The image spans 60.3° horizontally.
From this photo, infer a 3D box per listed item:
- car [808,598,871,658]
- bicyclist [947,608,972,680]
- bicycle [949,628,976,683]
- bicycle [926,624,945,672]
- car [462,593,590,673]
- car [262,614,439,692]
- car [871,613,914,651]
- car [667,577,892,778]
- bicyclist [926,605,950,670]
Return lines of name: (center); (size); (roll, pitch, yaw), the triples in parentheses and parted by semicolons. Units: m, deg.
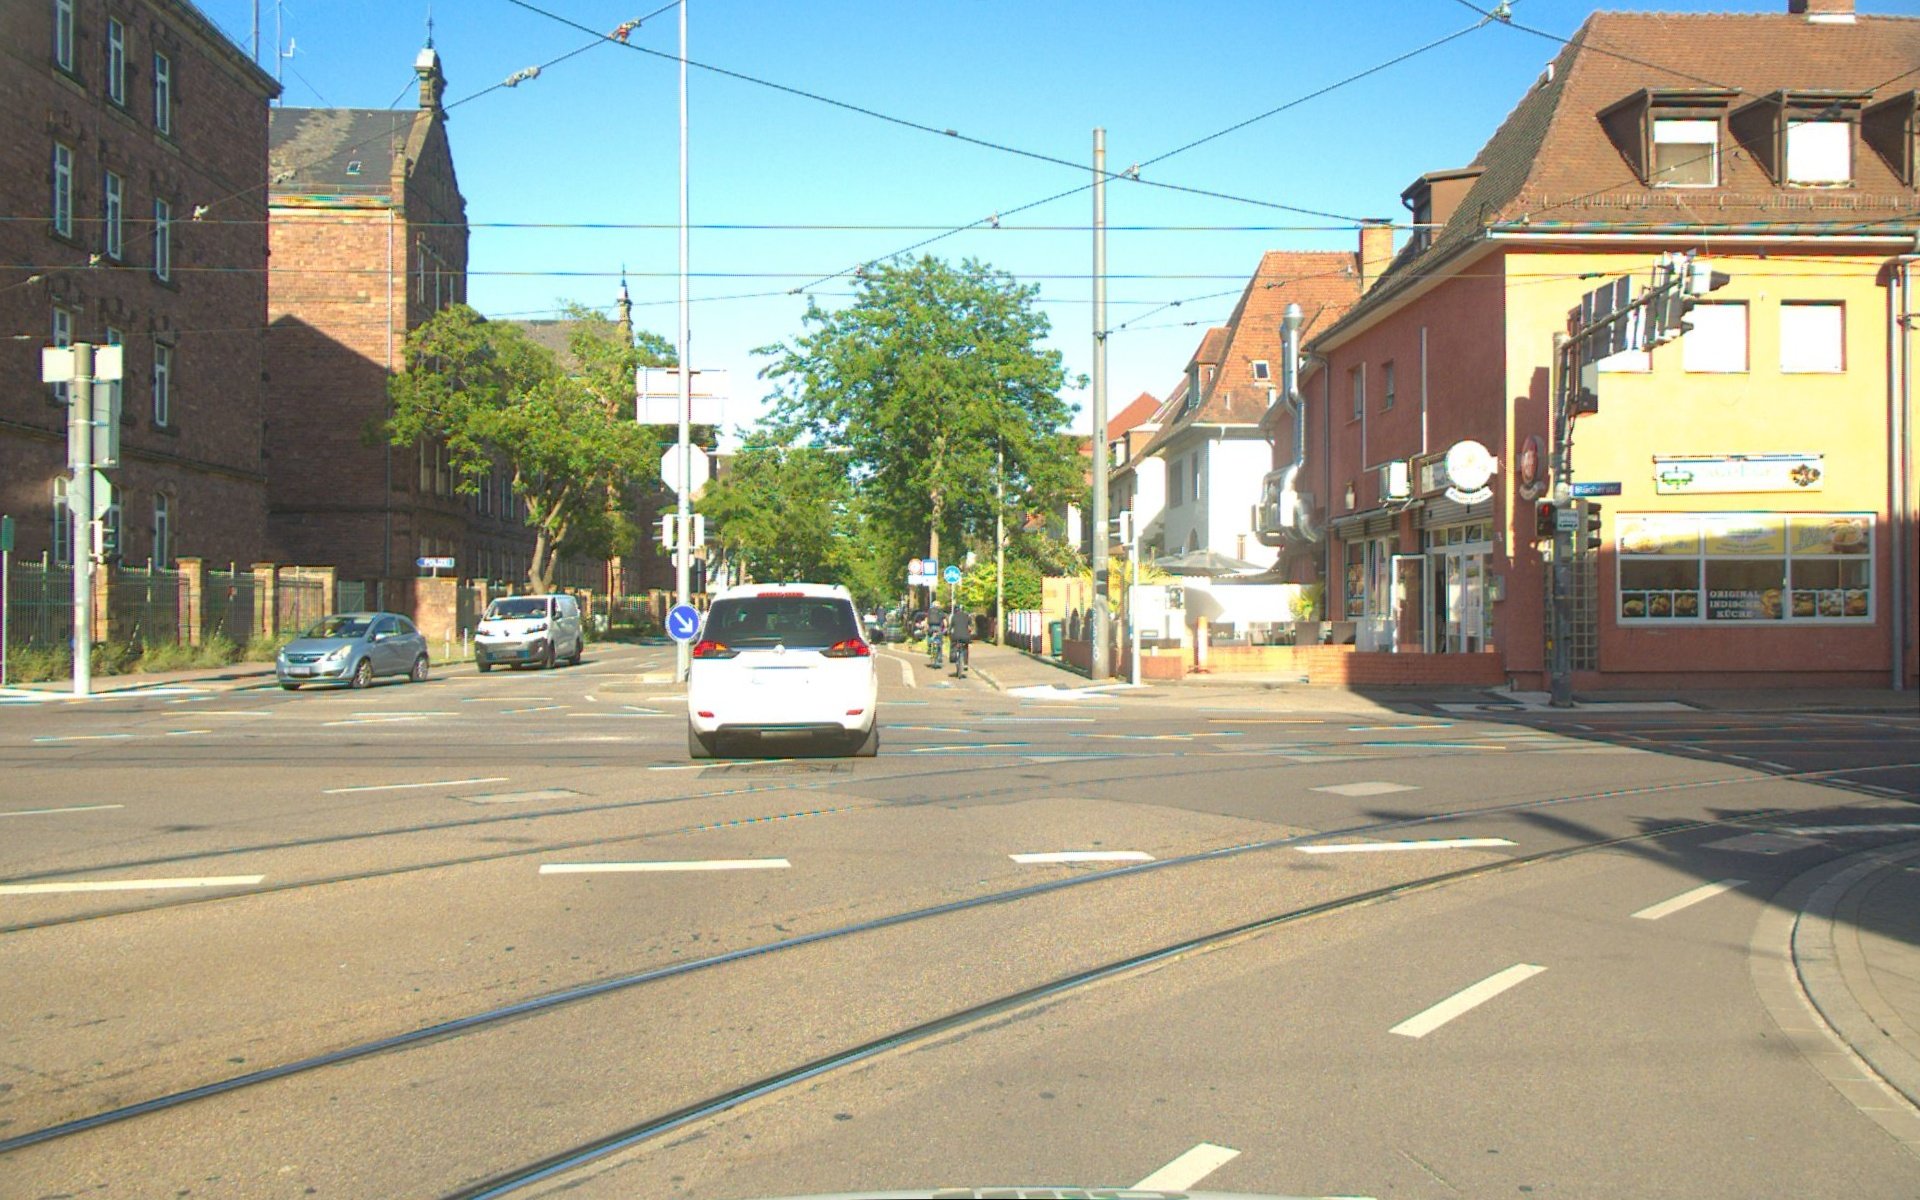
car: (-4.224, 0.943, 57.441); (1.953, 1.881, 4.244); (3, 0, -6)
bicyclist: (-0.010, 1.017, 38.785); (0.543, 1.645, 0.686); (1, 1, -2)
bicycle: (0.057, 1.273, 38.446); (0.547, 1.210, 1.995); (1, 0, -2)
bicycle: (-0.650, 1.272, 44.014); (0.461, 1.210, 1.995); (1, 0, -2)
car: (-11.307, 0.834, 43.483); (2.114, 1.963, 5.300); (0, 0, -2)
car: (-12.180, 1.022, 33.318); (1.699, 1.468, 4.118); (0, 0, 6)
car: (-3.325, 1.550, 82.097); (1.951, 1.694, 4.123); (3, 0, -1)
car: (-1.718, 0.681, 16.939); (1.924, 1.694, 4.247); (3, 0, -3)
bicyclist: (-0.594, 0.993, 43.833); (0.596, 1.685, 0.795); (1, 1, -2)
